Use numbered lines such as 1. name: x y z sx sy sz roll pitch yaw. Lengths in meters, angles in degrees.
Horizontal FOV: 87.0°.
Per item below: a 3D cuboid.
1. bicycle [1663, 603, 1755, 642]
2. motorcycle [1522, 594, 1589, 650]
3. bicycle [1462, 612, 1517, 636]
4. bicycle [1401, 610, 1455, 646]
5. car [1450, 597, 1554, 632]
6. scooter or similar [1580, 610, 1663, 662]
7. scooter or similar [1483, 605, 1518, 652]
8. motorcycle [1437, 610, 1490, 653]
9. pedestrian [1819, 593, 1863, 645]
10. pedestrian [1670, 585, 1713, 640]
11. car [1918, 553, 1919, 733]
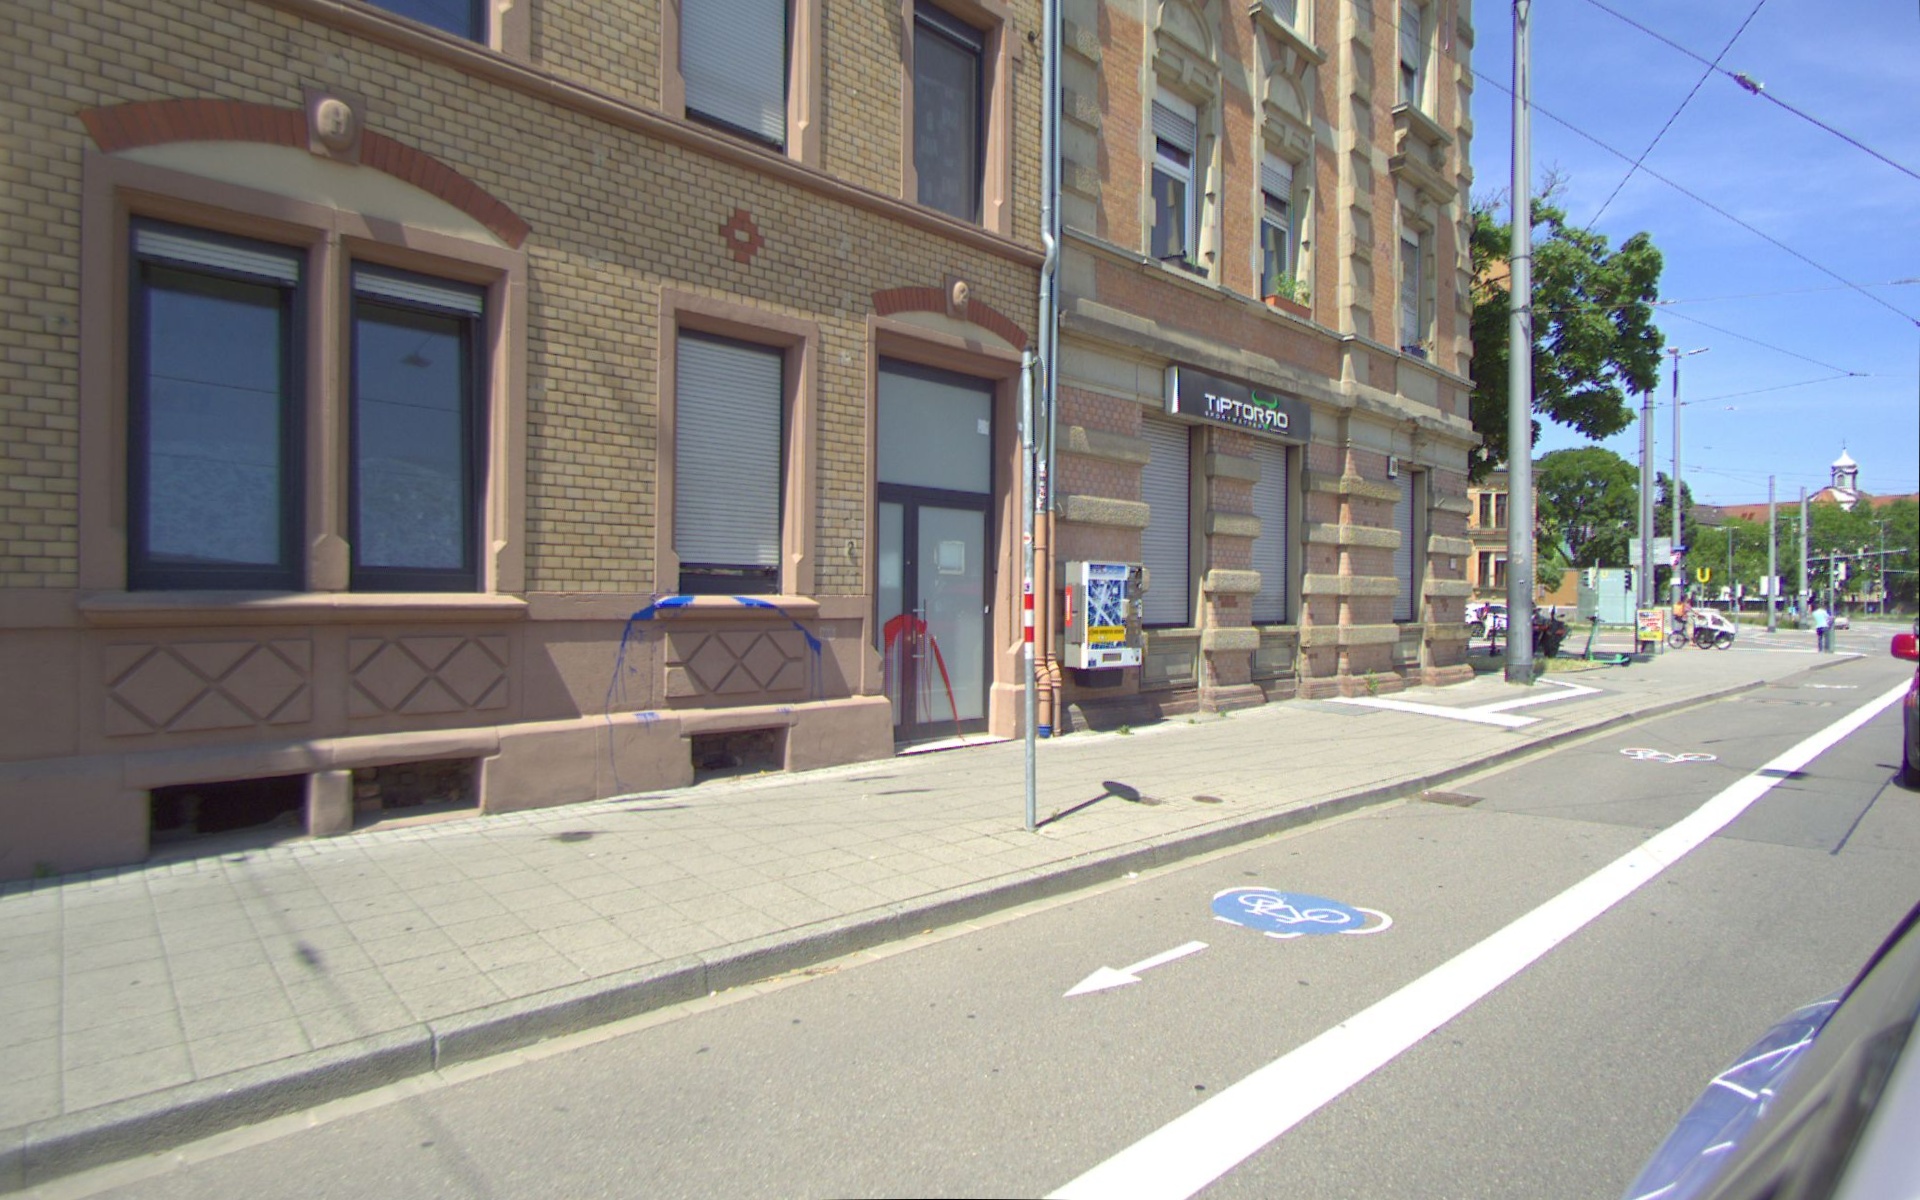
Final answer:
1. bicycle: 24.845 0.744 33.605 2.181 1.267 1.098 0 0 4
2. motorcycle: 15.538 0.535 26.371 2.551 1.379 0.765 0 0 -42
3. bicycle: 22.932 1.026 43.837 1.989 1.018 0.723 0 0 14
4. bicycle: 13.192 0.771 28.489 2.046 0.977 0.646 0 0 -42
5. car: 26.363 0.682 49.313 4.108 1.625 1.703 0 0 10
6. scooter or similar: 15.555 0.836 23.843 1.506 1.170 0.710 0 -1 20
7. scooter or similar: 14.226 0.722 26.627 0.599 1.166 1.361 0 1 38
8. motorcycle: 13.660 0.836 27.430 1.717 1.110 0.692 0 0 -42
9. pedestrian: 31.218 0.671 35.874 0.856 1.802 0.811 0 -1 -10
10. pedestrian: 24.313 0.400 33.645 0.810 1.798 0.813 -1 0 4
11. car: 9.598 0.550 8.680 4.028 1.835 1.753 0 0 -43
